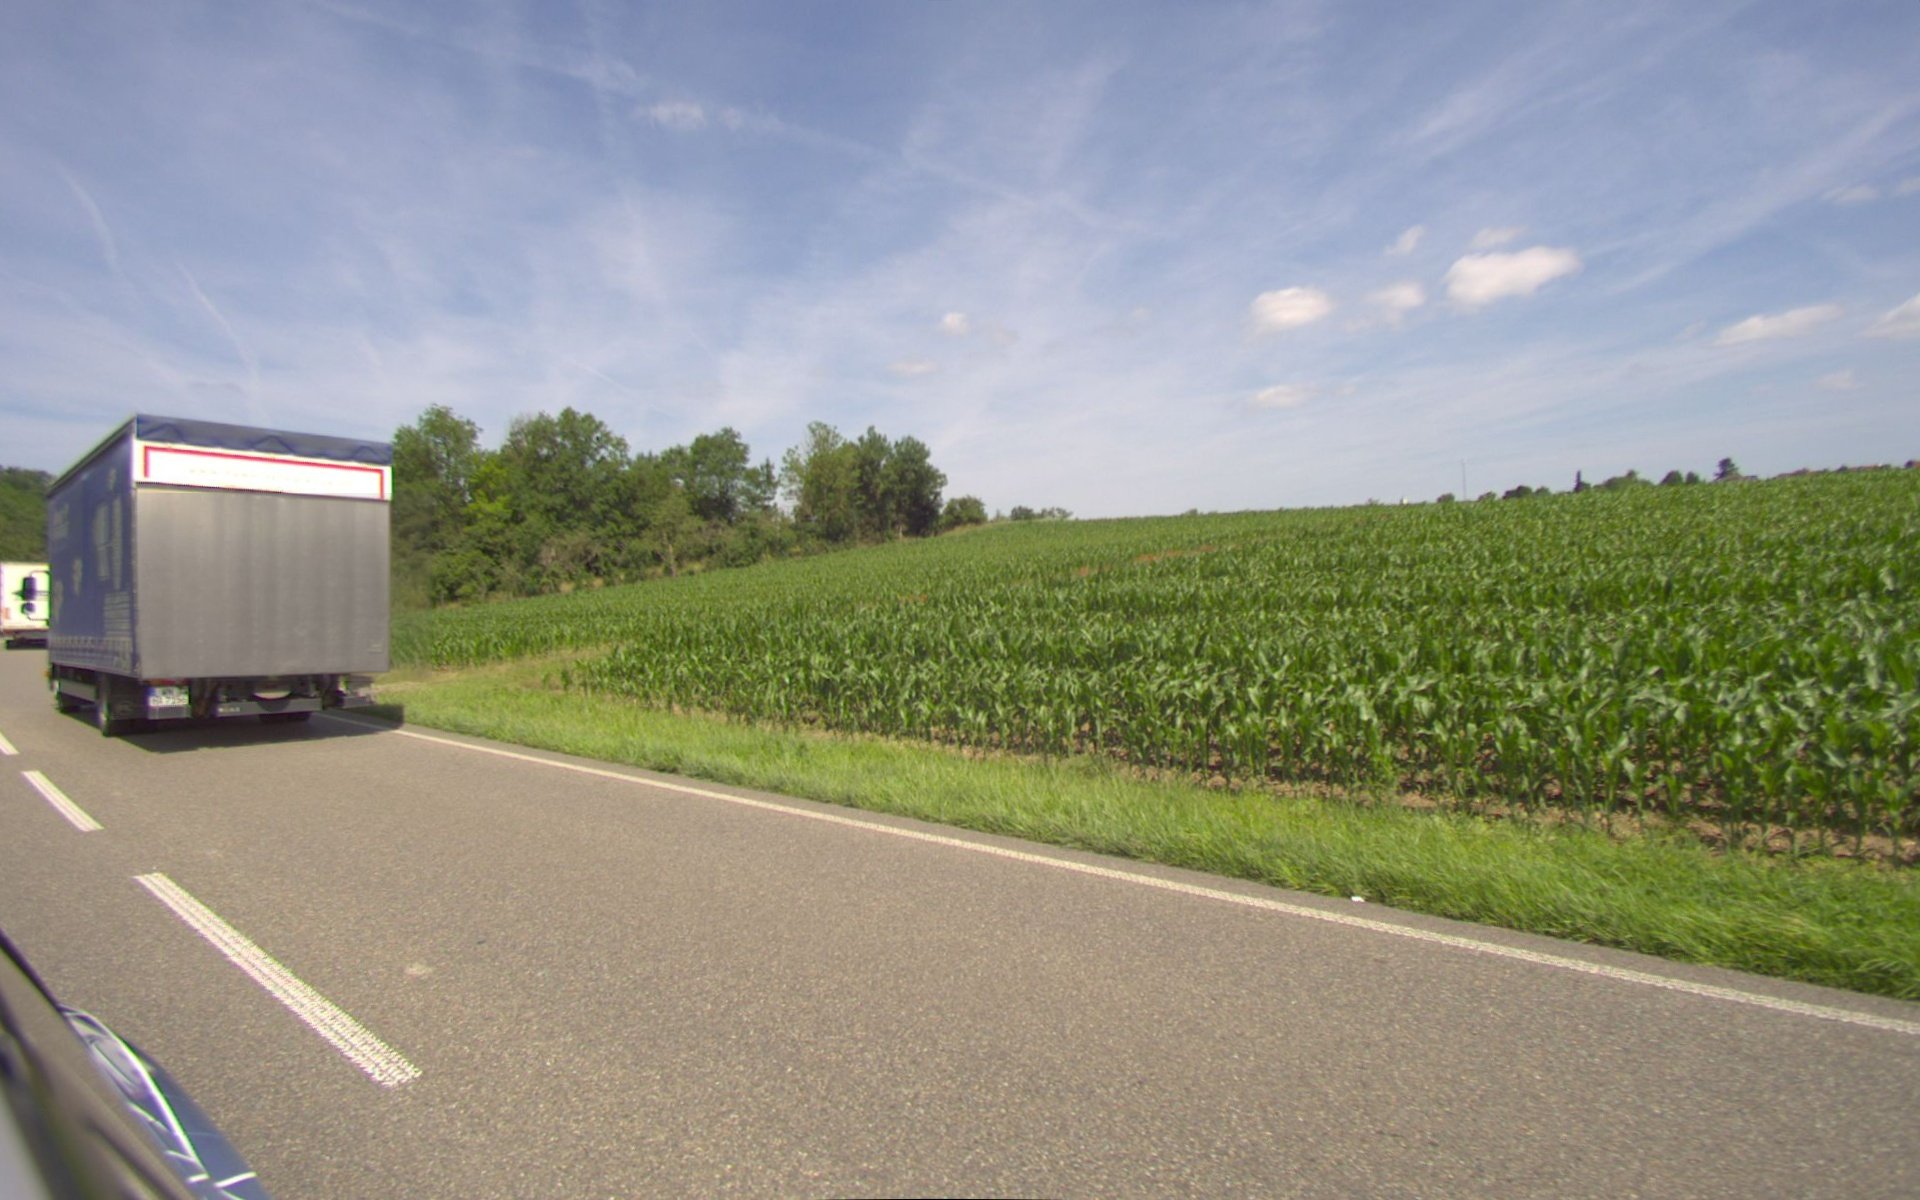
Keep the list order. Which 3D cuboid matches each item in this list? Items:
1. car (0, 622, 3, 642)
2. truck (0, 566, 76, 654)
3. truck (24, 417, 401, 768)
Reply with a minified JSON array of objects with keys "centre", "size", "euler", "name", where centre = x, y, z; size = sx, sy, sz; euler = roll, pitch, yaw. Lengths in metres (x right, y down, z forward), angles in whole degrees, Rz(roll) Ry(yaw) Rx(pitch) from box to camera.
[{"centre":[-72.362,2.387,74.911],"size":[1.715,1.465,4.045],"euler":[0,0,-37],"name":"car"},{"centre":[-48.778,0.572,53.251],"size":[2.738,4.029,17.043],"euler":[0,-1,-43],"name":"truck"},{"centre":[-11.306,-0.006,14.713],"size":[9.727,3.606,2.711],"euler":[-1,-1,43],"name":"truck"}]
